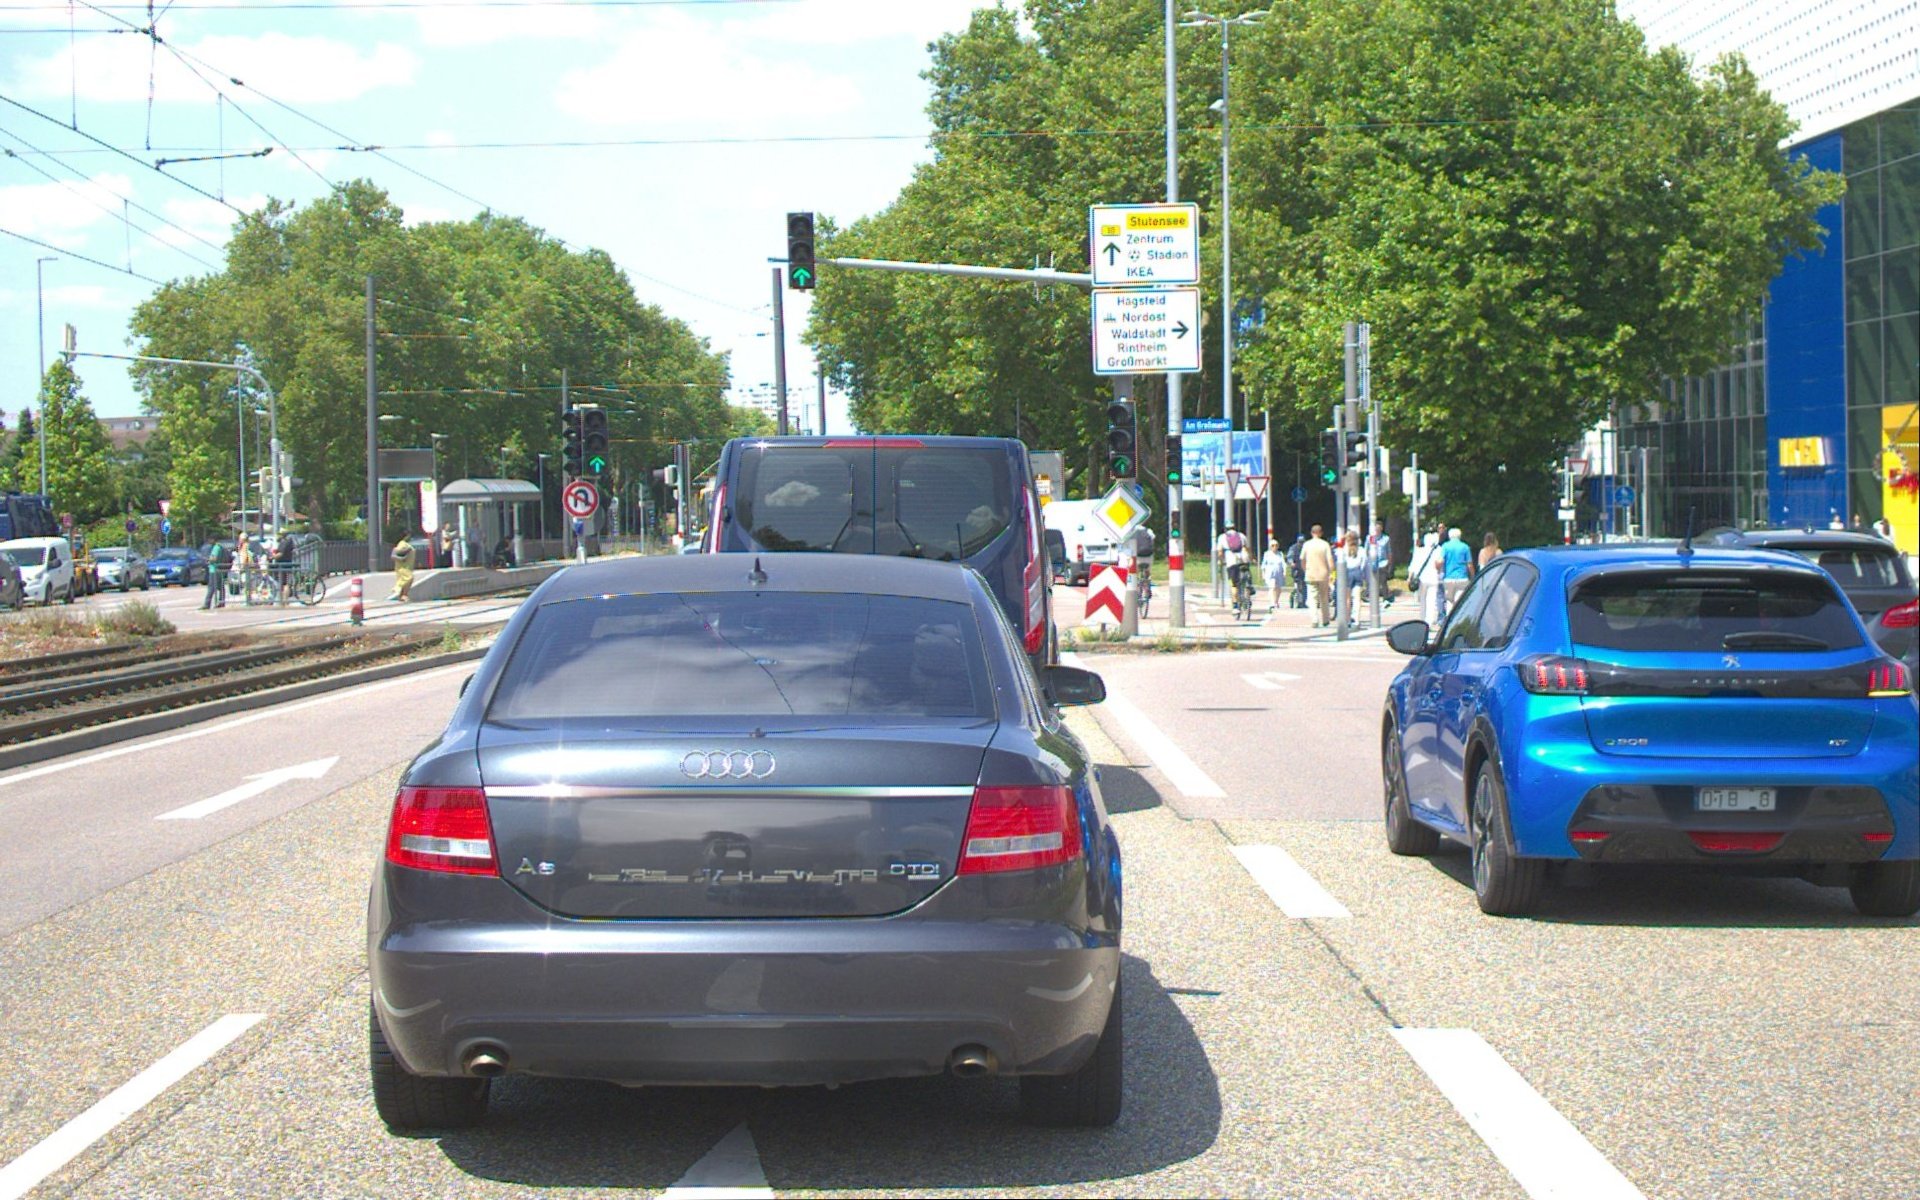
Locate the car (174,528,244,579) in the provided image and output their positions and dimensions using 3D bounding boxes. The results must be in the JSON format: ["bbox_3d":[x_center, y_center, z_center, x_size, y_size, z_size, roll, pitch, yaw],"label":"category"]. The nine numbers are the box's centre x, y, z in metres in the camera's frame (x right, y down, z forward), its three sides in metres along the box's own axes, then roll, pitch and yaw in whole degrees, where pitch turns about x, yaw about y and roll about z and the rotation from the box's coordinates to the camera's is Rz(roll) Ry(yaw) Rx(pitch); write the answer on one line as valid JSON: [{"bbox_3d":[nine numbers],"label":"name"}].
[{"bbox_3d":[-28.268,-1.758,129.486,1.817,1.876,4.000,0,1,-1],"label":"car"}]

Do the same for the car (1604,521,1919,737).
[{"bbox_3d":[6.195,0.158,26.347,1.761,1.521,4.100,0,1,0],"label":"car"}]

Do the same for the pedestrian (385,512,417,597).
[{"bbox_3d":[-13.158,-1.067,80.905,0.685,2.007,0.573,0,1,-4],"label":"pedestrian"}]

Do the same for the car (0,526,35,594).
[{"bbox_3d":[-24.690,-1.009,86.118,1.822,1.664,4.462,1,1,0],"label":"car"}]

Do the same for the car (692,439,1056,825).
[{"bbox_3d":[-0.460,0.127,19.340,1.836,1.943,4.000,0,1,-1],"label":"car"}]

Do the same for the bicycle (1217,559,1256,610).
[{"bbox_3d":[4.904,-0.285,61.018,0.550,0.874,1.697,0,1,0],"label":"bicycle"}]

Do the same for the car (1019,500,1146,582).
[{"bbox_3d":[3.489,-1.700,98.870,1.993,2.301,4.777,0,1,-20],"label":"car"}]

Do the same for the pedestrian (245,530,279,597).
[{"bbox_3d":[-16.184,-0.849,79.719,0.685,1.559,0.573,0,1,-4],"label":"pedestrian"}]

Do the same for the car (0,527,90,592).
[{"bbox_3d":[-25.035,-1.123,92.911,1.822,1.664,4.461,1,1,1],"label":"car"}]

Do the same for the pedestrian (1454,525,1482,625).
[{"bbox_3d":[8.293,-0.415,56.146,0.398,1.629,0.371,0,1,3],"label":"pedestrian"}]

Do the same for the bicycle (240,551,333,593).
[{"bbox_3d":[-15.213,-0.633,77.700,2.055,0.922,0.753,0,1,-10],"label":"bicycle"}]

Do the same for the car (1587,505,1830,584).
[{"bbox_3d":[15.063,-1.131,69.383,4.498,1.481,2.000,1,1,3],"label":"car"}]

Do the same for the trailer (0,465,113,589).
[{"bbox_3d":[-28.603,-2.188,102.881,2.767,3.506,15.879,0,1,-1],"label":"trailer"}]

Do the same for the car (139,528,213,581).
[{"bbox_3d":[-28.294,-1.671,124.142,1.817,1.876,4.000,0,1,-1],"label":"car"}]

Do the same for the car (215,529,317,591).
[{"bbox_3d":[-19.589,-1.150,97.266,1.822,1.664,4.461,1,1,2],"label":"car"}]

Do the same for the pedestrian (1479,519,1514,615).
[{"bbox_3d":[9.314,-0.574,59.709,0.521,1.664,0.494,0,1,3],"label":"pedestrian"}]

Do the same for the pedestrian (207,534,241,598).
[{"bbox_3d":[-16.824,-0.780,78.609,0.685,1.438,0.573,0,1,-4],"label":"pedestrian"}]

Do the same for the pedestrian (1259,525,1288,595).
[{"bbox_3d":[6.825,-0.883,74.847,0.494,1.514,0.706,1,1,17],"label":"pedestrian"}]

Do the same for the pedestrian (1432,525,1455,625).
[{"bbox_3d":[7.902,-0.416,56.200,0.320,1.629,0.377,0,1,3],"label":"pedestrian"}]

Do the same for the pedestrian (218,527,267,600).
[{"bbox_3d":[-16.981,-0.877,81.374,0.824,1.714,0.774,1,1,22],"label":"pedestrian"}]

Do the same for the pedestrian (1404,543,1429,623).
[{"bbox_3d":[7.459,-0.278,56.177,0.372,1.299,0.365,0,1,3],"label":"pedestrian"}]

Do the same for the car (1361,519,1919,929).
[{"bbox_3d":[2.882,0.411,14.559,1.837,1.449,4.000,1,2,0],"label":"car"}]

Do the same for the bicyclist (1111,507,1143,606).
[{"bbox_3d":[3.007,-0.790,62.060,0.528,1.783,1.088,0,1,0],"label":"bicyclist"}]

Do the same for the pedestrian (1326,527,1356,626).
[{"bbox_3d":[6.288,-0.394,56.772,0.445,1.629,0.430,0,1,3],"label":"pedestrian"}]

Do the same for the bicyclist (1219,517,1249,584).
[{"bbox_3d":[4.899,-0.881,61.442,0.470,1.189,0.791,0,1,1],"label":"bicyclist"}]

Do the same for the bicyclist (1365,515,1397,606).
[{"bbox_3d":[8.184,-0.774,66.796,0.529,1.758,0.827,0,1,13],"label":"bicyclist"}]

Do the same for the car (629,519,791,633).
[{"bbox_3d":[-3.482,-0.370,48.540,1.993,1.481,4.000,1,2,0],"label":"car"}]

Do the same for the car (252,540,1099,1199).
[{"bbox_3d":[-0.623,0.599,9.409,1.792,1.450,4.000,-1,2,0],"label":"car"}]

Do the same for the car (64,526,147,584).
[{"bbox_3d":[-28.426,-1.505,114.495,1.817,1.876,4.000,0,1,-1],"label":"car"}]

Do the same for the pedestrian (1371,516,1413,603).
[{"bbox_3d":[9.227,-0.877,73.390,0.685,1.840,0.706,1,1,25],"label":"pedestrian"}]

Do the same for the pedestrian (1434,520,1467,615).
[{"bbox_3d":[8.524,-0.568,59.735,0.504,1.629,0.449,0,1,3],"label":"pedestrian"}]

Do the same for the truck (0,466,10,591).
[{"bbox_3d":[-28.502,-1.988,95.080,2.767,3.557,6.440,0,1,-1],"label":"truck"}]

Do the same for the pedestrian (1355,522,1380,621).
[{"bbox_3d":[6.731,-0.471,56.806,0.381,1.629,0.377,0,1,3],"label":"pedestrian"}]

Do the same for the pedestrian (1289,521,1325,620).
[{"bbox_3d":[5.737,-0.487,56.825,0.554,1.629,0.433,0,1,3],"label":"pedestrian"}]

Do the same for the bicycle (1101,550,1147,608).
[{"bbox_3d":[2.949,-0.392,62.069,0.688,0.990,2.752,0,1,0],"label":"bicycle"}]
